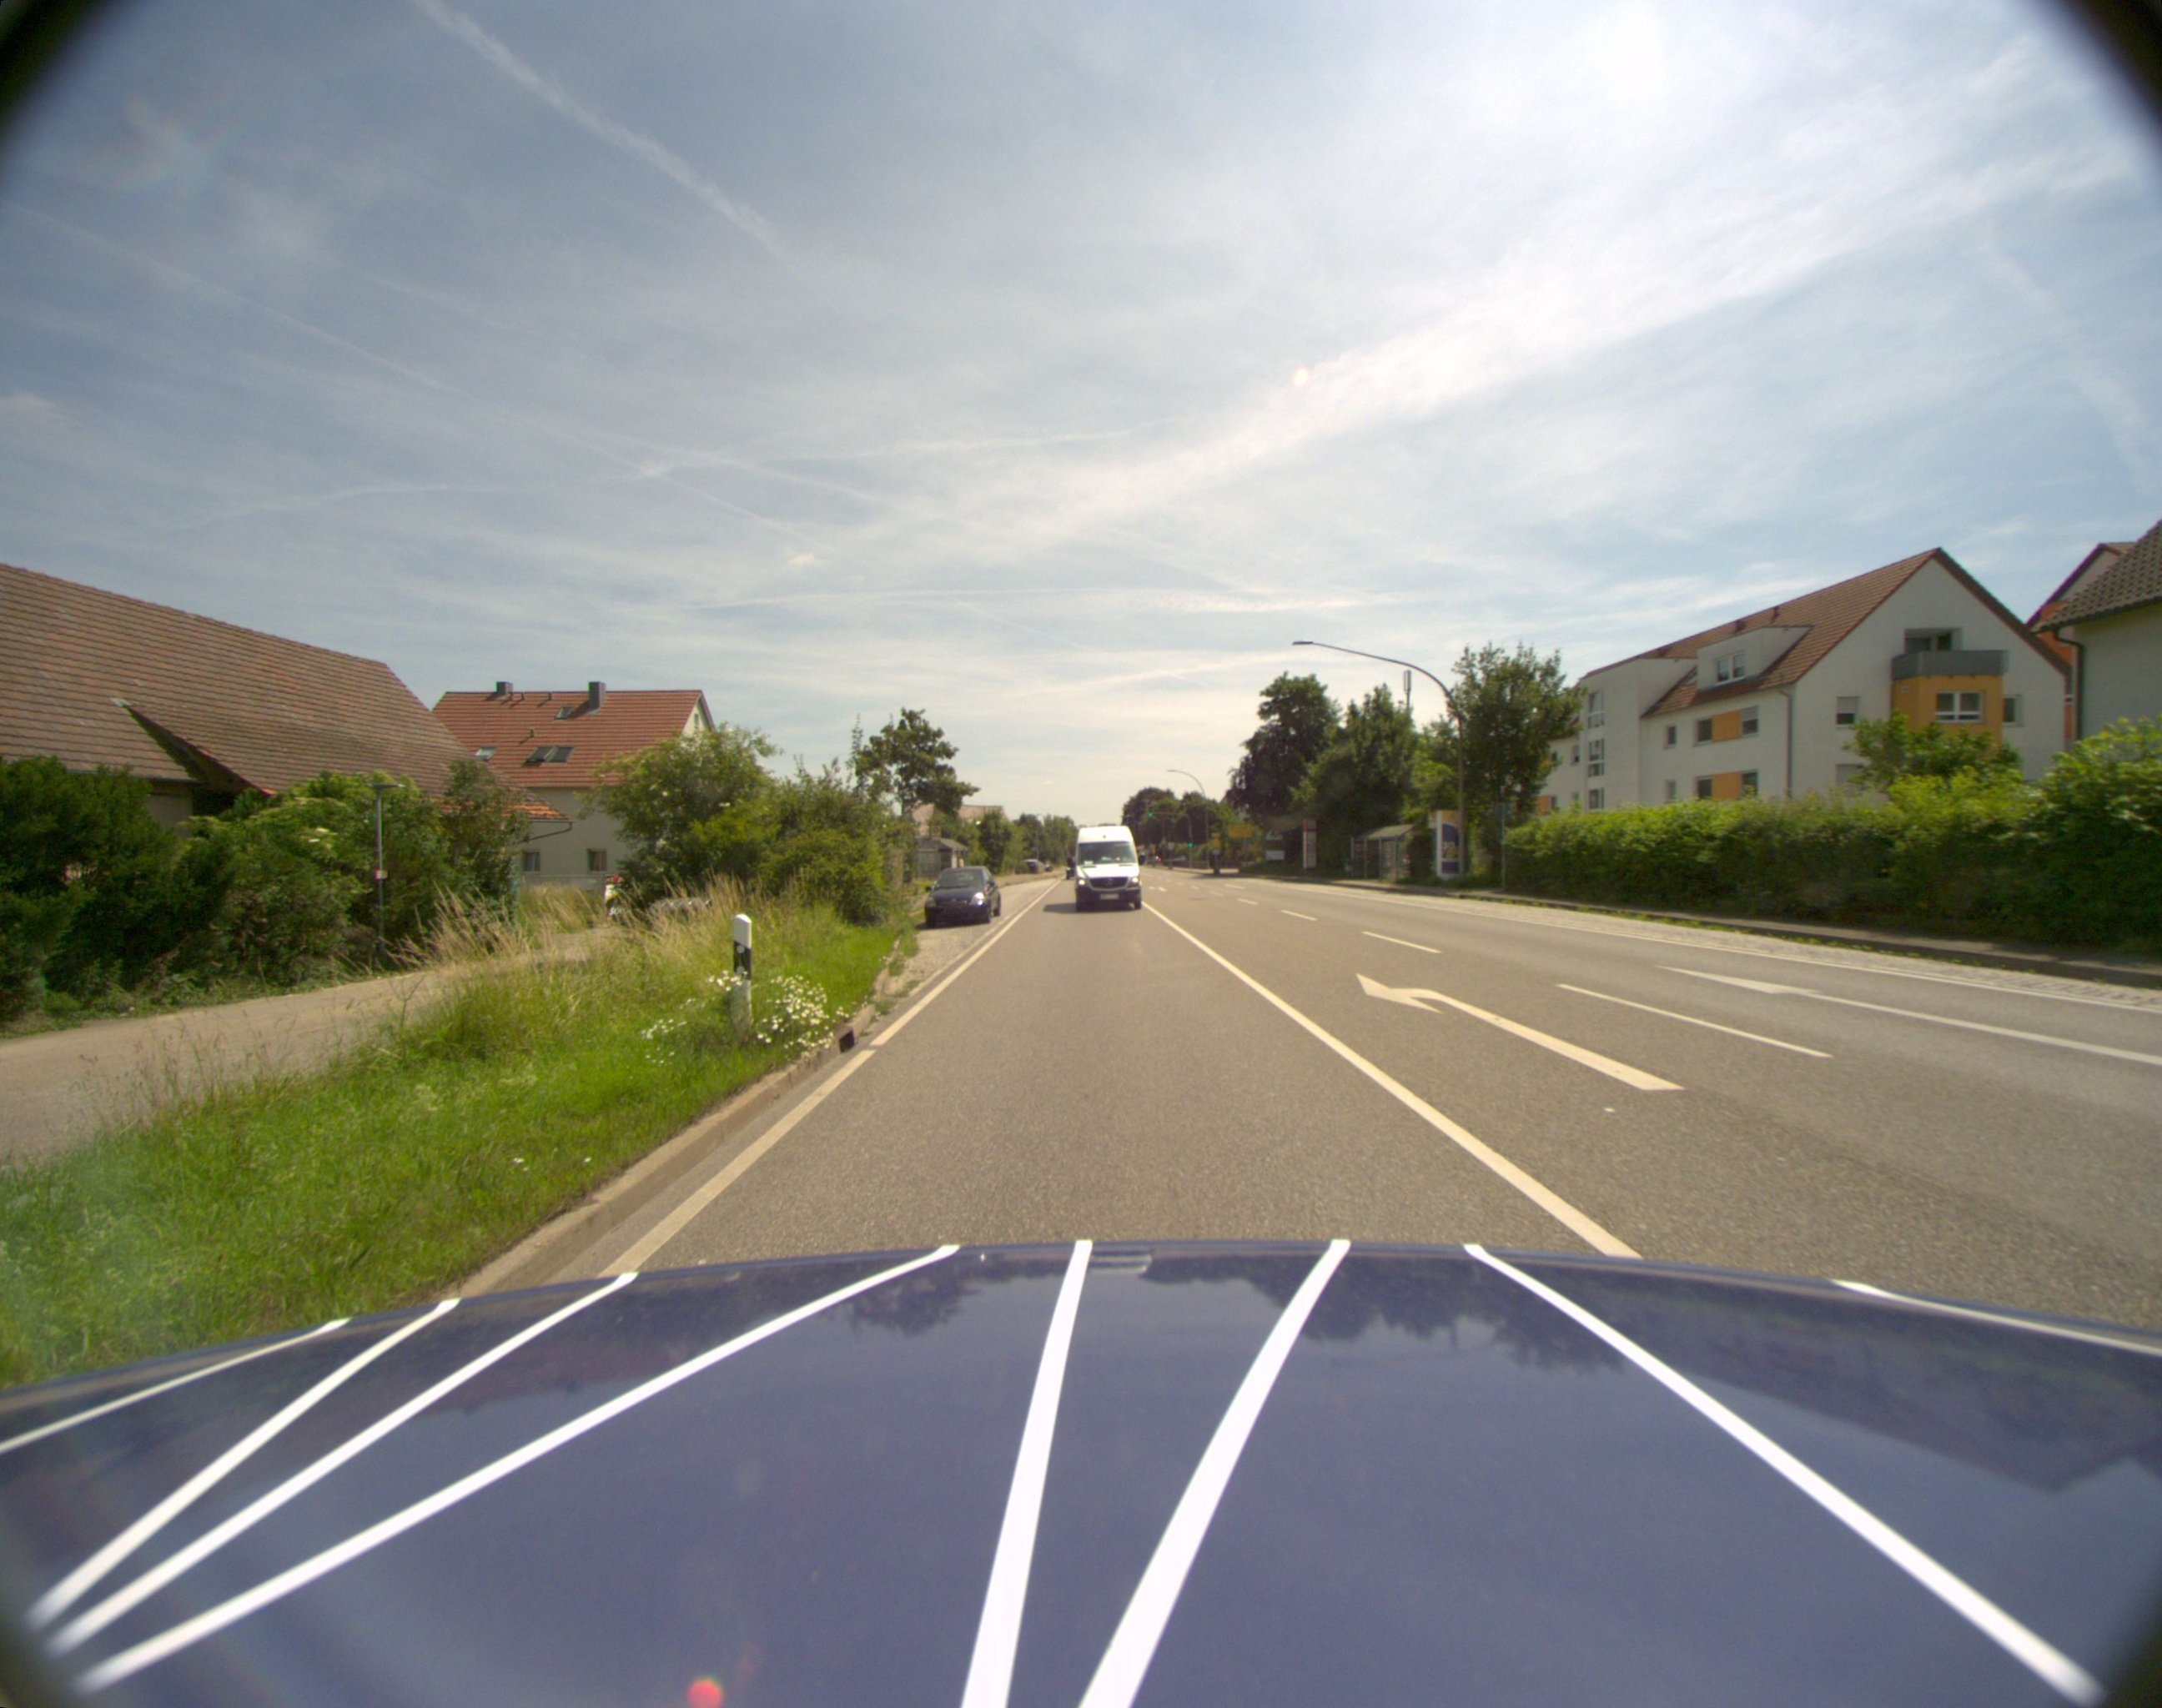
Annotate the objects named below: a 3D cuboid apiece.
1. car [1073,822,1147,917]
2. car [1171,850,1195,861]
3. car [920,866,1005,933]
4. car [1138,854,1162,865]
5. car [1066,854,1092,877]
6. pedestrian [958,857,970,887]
[{"bbox_3d":[0.855,0.424,23.647,1.939,2.514,5.749,-2,0,1],"label":"car"},{"bbox_3d":[18.903,0.275,140.960,3.998,1.760,1.999,-3,1,-3],"label":"car"},{"bbox_3d":[-3.129,1.157,20.684,1.636,1.476,3.552,-5,0,0],"label":"car"},{"bbox_3d":[12.776,1.015,140.693,3.998,1.744,1.999,-3,1,-4],"label":"car"},{"bbox_3d":[-0.127,0.897,60.896,1.884,1.652,4.626,-3,0,1],"label":"car"},{"bbox_3d":[-6.097,0.921,39.581,0.522,1.540,0.562,-2,2,-18],"label":"pedestrian"}]
